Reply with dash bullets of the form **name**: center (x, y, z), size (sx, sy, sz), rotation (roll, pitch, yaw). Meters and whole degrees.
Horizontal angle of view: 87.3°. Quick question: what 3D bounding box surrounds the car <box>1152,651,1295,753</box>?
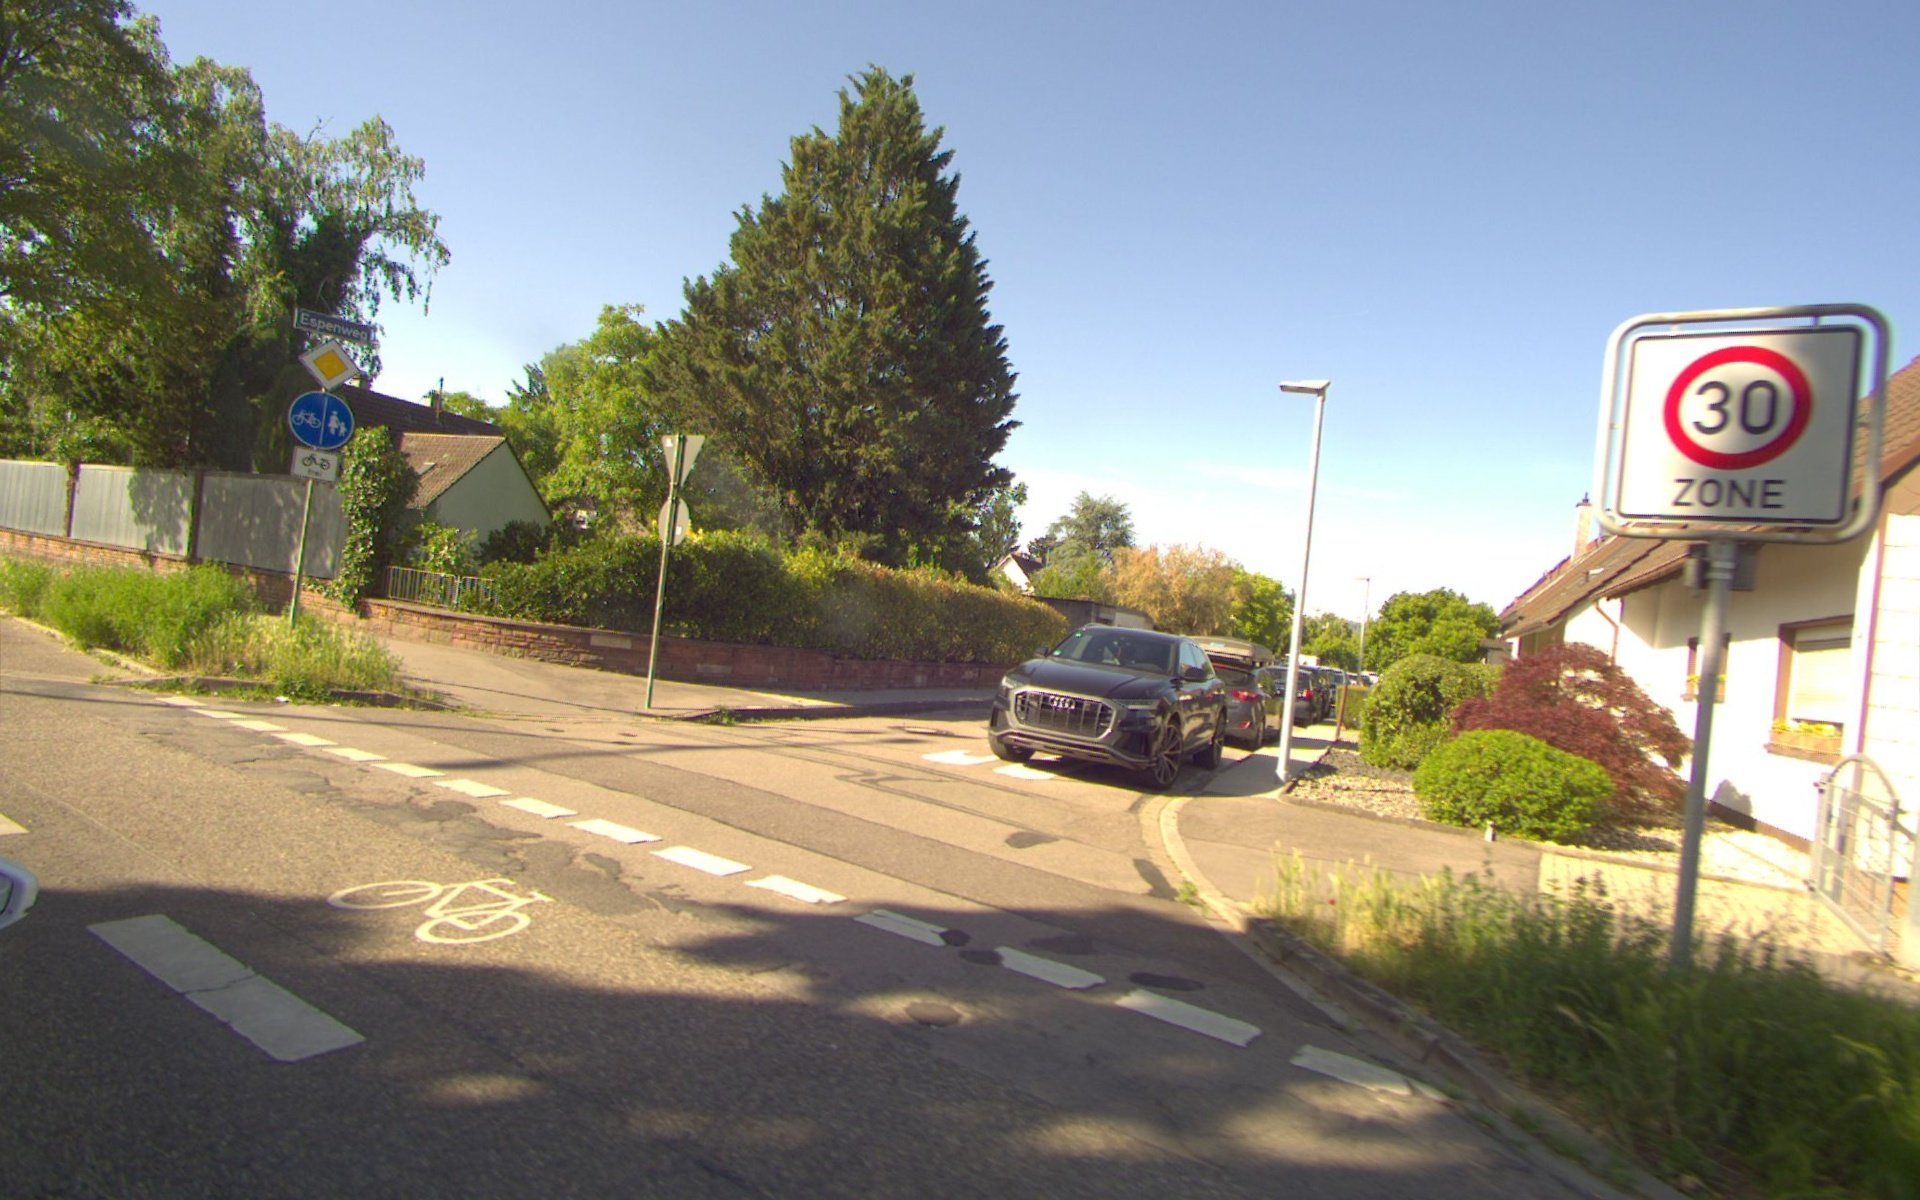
- **car**: center (4.992, 1.845, 18.672), size (1.756, 1.455, 3.932), rotation (7, -1, 25)

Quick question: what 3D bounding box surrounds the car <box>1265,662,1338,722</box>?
- **car**: center (10.844, 2.880, 31.847), size (1.655, 1.575, 3.609), rotation (7, -1, 25)

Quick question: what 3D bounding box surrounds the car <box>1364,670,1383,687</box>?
- **car**: center (48.801, 9.281, 118.672), size (1.655, 1.690, 3.609), rotation (7, -1, 25)

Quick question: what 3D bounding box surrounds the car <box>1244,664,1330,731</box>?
- **car**: center (8.902, 2.606, 27.243), size (1.655, 1.455, 3.609), rotation (7, -1, 25)

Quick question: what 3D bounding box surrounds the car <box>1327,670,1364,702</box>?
- **car**: center (23.239, 5.161, 60.553), size (1.655, 1.690, 3.609), rotation (7, -1, 25)

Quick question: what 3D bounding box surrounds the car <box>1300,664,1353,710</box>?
- **car**: center (15.809, 3.731, 43.305), size (1.655, 1.690, 3.609), rotation (7, -1, 25)

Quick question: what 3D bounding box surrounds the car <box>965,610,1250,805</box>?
- **car**: center (2.056, 1.220, 12.375), size (2.034, 1.676, 4.755), rotation (7, -1, 25)

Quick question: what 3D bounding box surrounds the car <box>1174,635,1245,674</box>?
- **car**: center (14.005, 3.042, 56.434), size (3.459, 1.690, 1.578), rotation (7, 0, 25)

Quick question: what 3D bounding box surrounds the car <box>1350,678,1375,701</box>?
- **car**: center (34.229, 7.555, 85.527), size (1.655, 1.690, 3.609), rotation (7, -1, 25)
